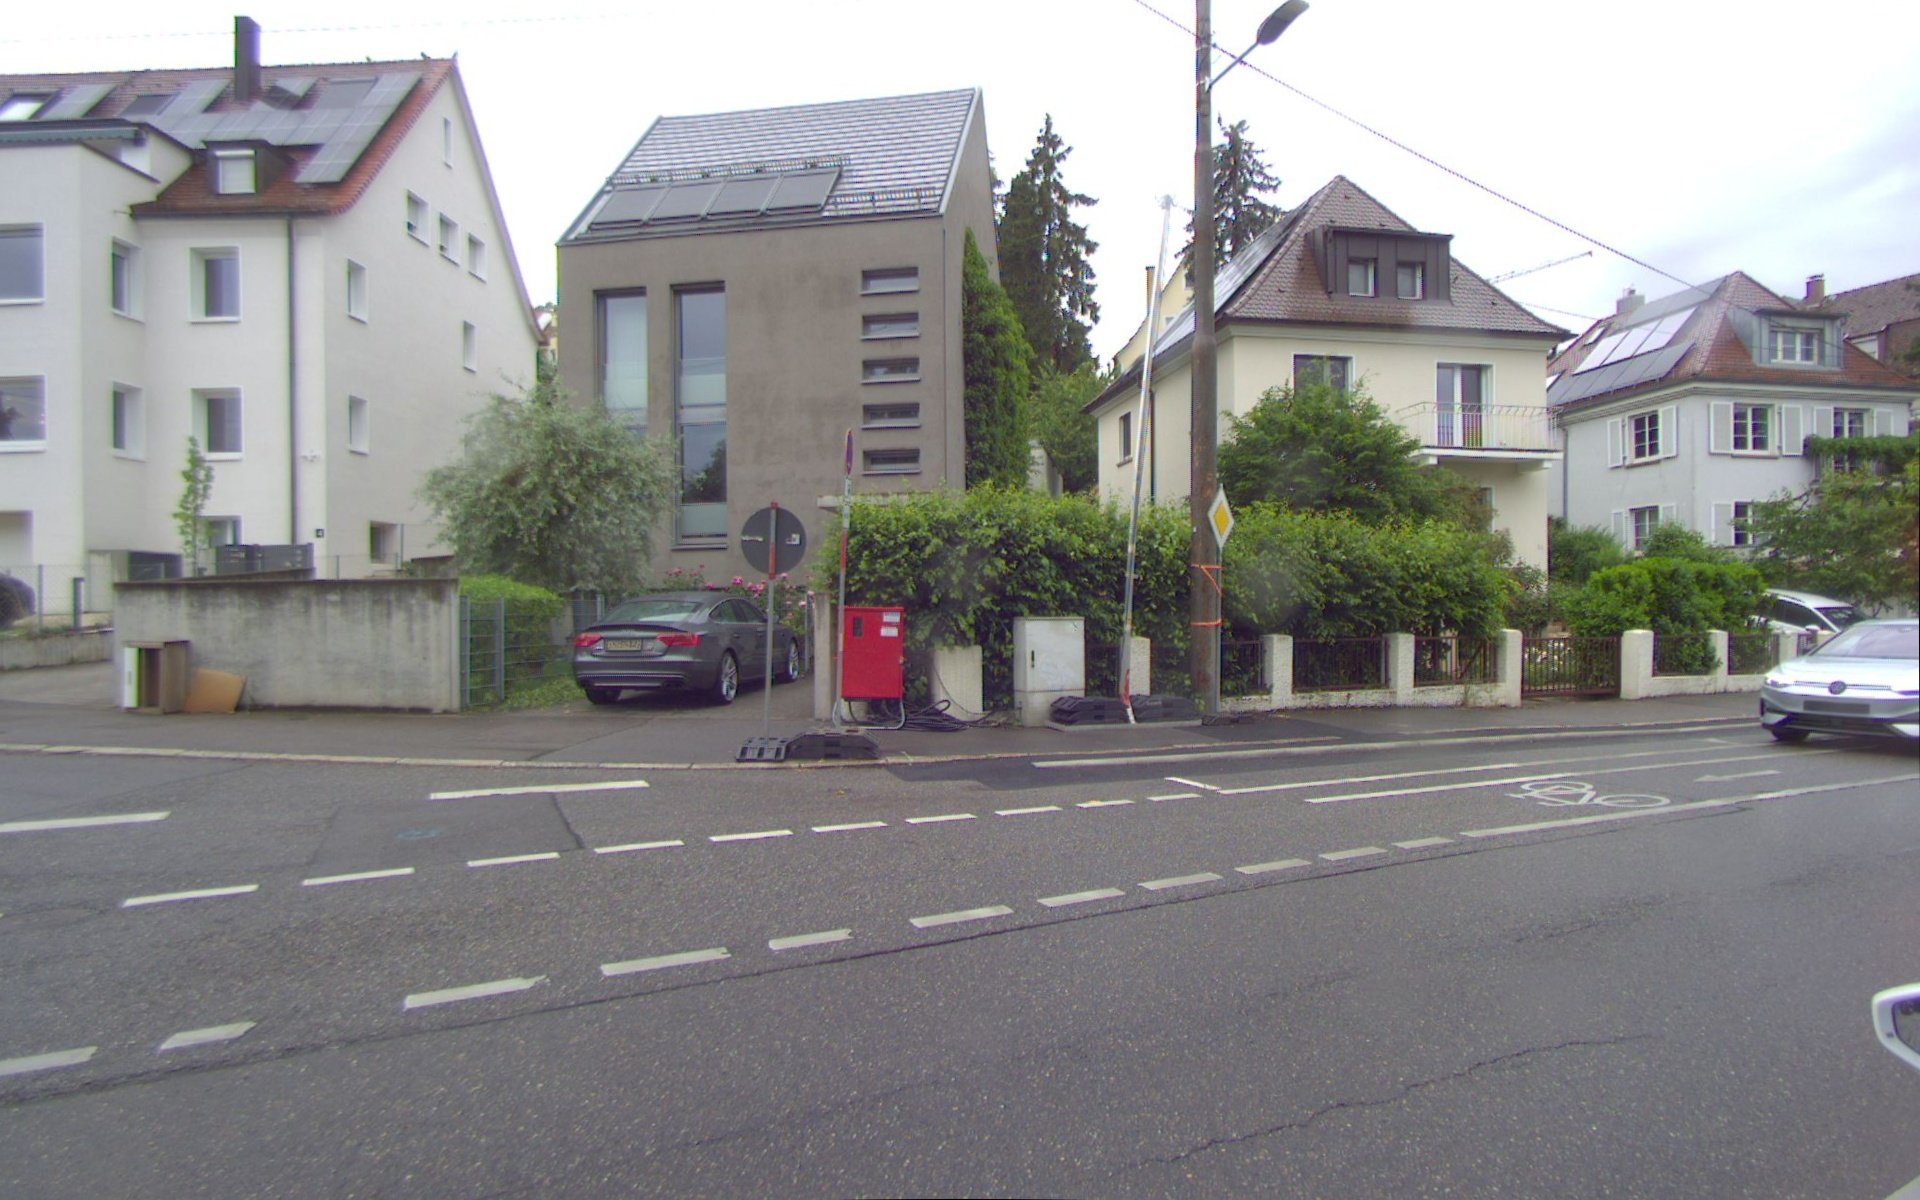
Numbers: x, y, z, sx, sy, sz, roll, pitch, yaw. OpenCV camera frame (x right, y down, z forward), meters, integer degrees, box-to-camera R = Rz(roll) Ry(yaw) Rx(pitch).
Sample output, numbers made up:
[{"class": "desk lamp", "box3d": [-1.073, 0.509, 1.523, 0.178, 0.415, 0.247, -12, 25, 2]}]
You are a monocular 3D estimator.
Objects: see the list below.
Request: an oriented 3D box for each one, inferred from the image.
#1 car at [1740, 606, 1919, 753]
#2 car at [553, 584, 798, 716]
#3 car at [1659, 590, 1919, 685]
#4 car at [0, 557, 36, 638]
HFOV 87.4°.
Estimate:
[{"class": "car", "box3d": [11.996, 0.921, 12.491, 4.759, 1.547, 1.845, 2, -1, -28]}, {"class": "car", "box3d": [-3.615, 0.555, 13.580, 1.740, 1.506, 4.002, 0, 1, 7]}, {"class": "car", "box3d": [19.590, 0.808, 23.916, 1.870, 2.033, 4.628, 1, 0, -18]}, {"class": "car", "box3d": [-16.738, 0.041, 15.173, 1.576, 1.298, 4.008, 2, 4, 6]}]
